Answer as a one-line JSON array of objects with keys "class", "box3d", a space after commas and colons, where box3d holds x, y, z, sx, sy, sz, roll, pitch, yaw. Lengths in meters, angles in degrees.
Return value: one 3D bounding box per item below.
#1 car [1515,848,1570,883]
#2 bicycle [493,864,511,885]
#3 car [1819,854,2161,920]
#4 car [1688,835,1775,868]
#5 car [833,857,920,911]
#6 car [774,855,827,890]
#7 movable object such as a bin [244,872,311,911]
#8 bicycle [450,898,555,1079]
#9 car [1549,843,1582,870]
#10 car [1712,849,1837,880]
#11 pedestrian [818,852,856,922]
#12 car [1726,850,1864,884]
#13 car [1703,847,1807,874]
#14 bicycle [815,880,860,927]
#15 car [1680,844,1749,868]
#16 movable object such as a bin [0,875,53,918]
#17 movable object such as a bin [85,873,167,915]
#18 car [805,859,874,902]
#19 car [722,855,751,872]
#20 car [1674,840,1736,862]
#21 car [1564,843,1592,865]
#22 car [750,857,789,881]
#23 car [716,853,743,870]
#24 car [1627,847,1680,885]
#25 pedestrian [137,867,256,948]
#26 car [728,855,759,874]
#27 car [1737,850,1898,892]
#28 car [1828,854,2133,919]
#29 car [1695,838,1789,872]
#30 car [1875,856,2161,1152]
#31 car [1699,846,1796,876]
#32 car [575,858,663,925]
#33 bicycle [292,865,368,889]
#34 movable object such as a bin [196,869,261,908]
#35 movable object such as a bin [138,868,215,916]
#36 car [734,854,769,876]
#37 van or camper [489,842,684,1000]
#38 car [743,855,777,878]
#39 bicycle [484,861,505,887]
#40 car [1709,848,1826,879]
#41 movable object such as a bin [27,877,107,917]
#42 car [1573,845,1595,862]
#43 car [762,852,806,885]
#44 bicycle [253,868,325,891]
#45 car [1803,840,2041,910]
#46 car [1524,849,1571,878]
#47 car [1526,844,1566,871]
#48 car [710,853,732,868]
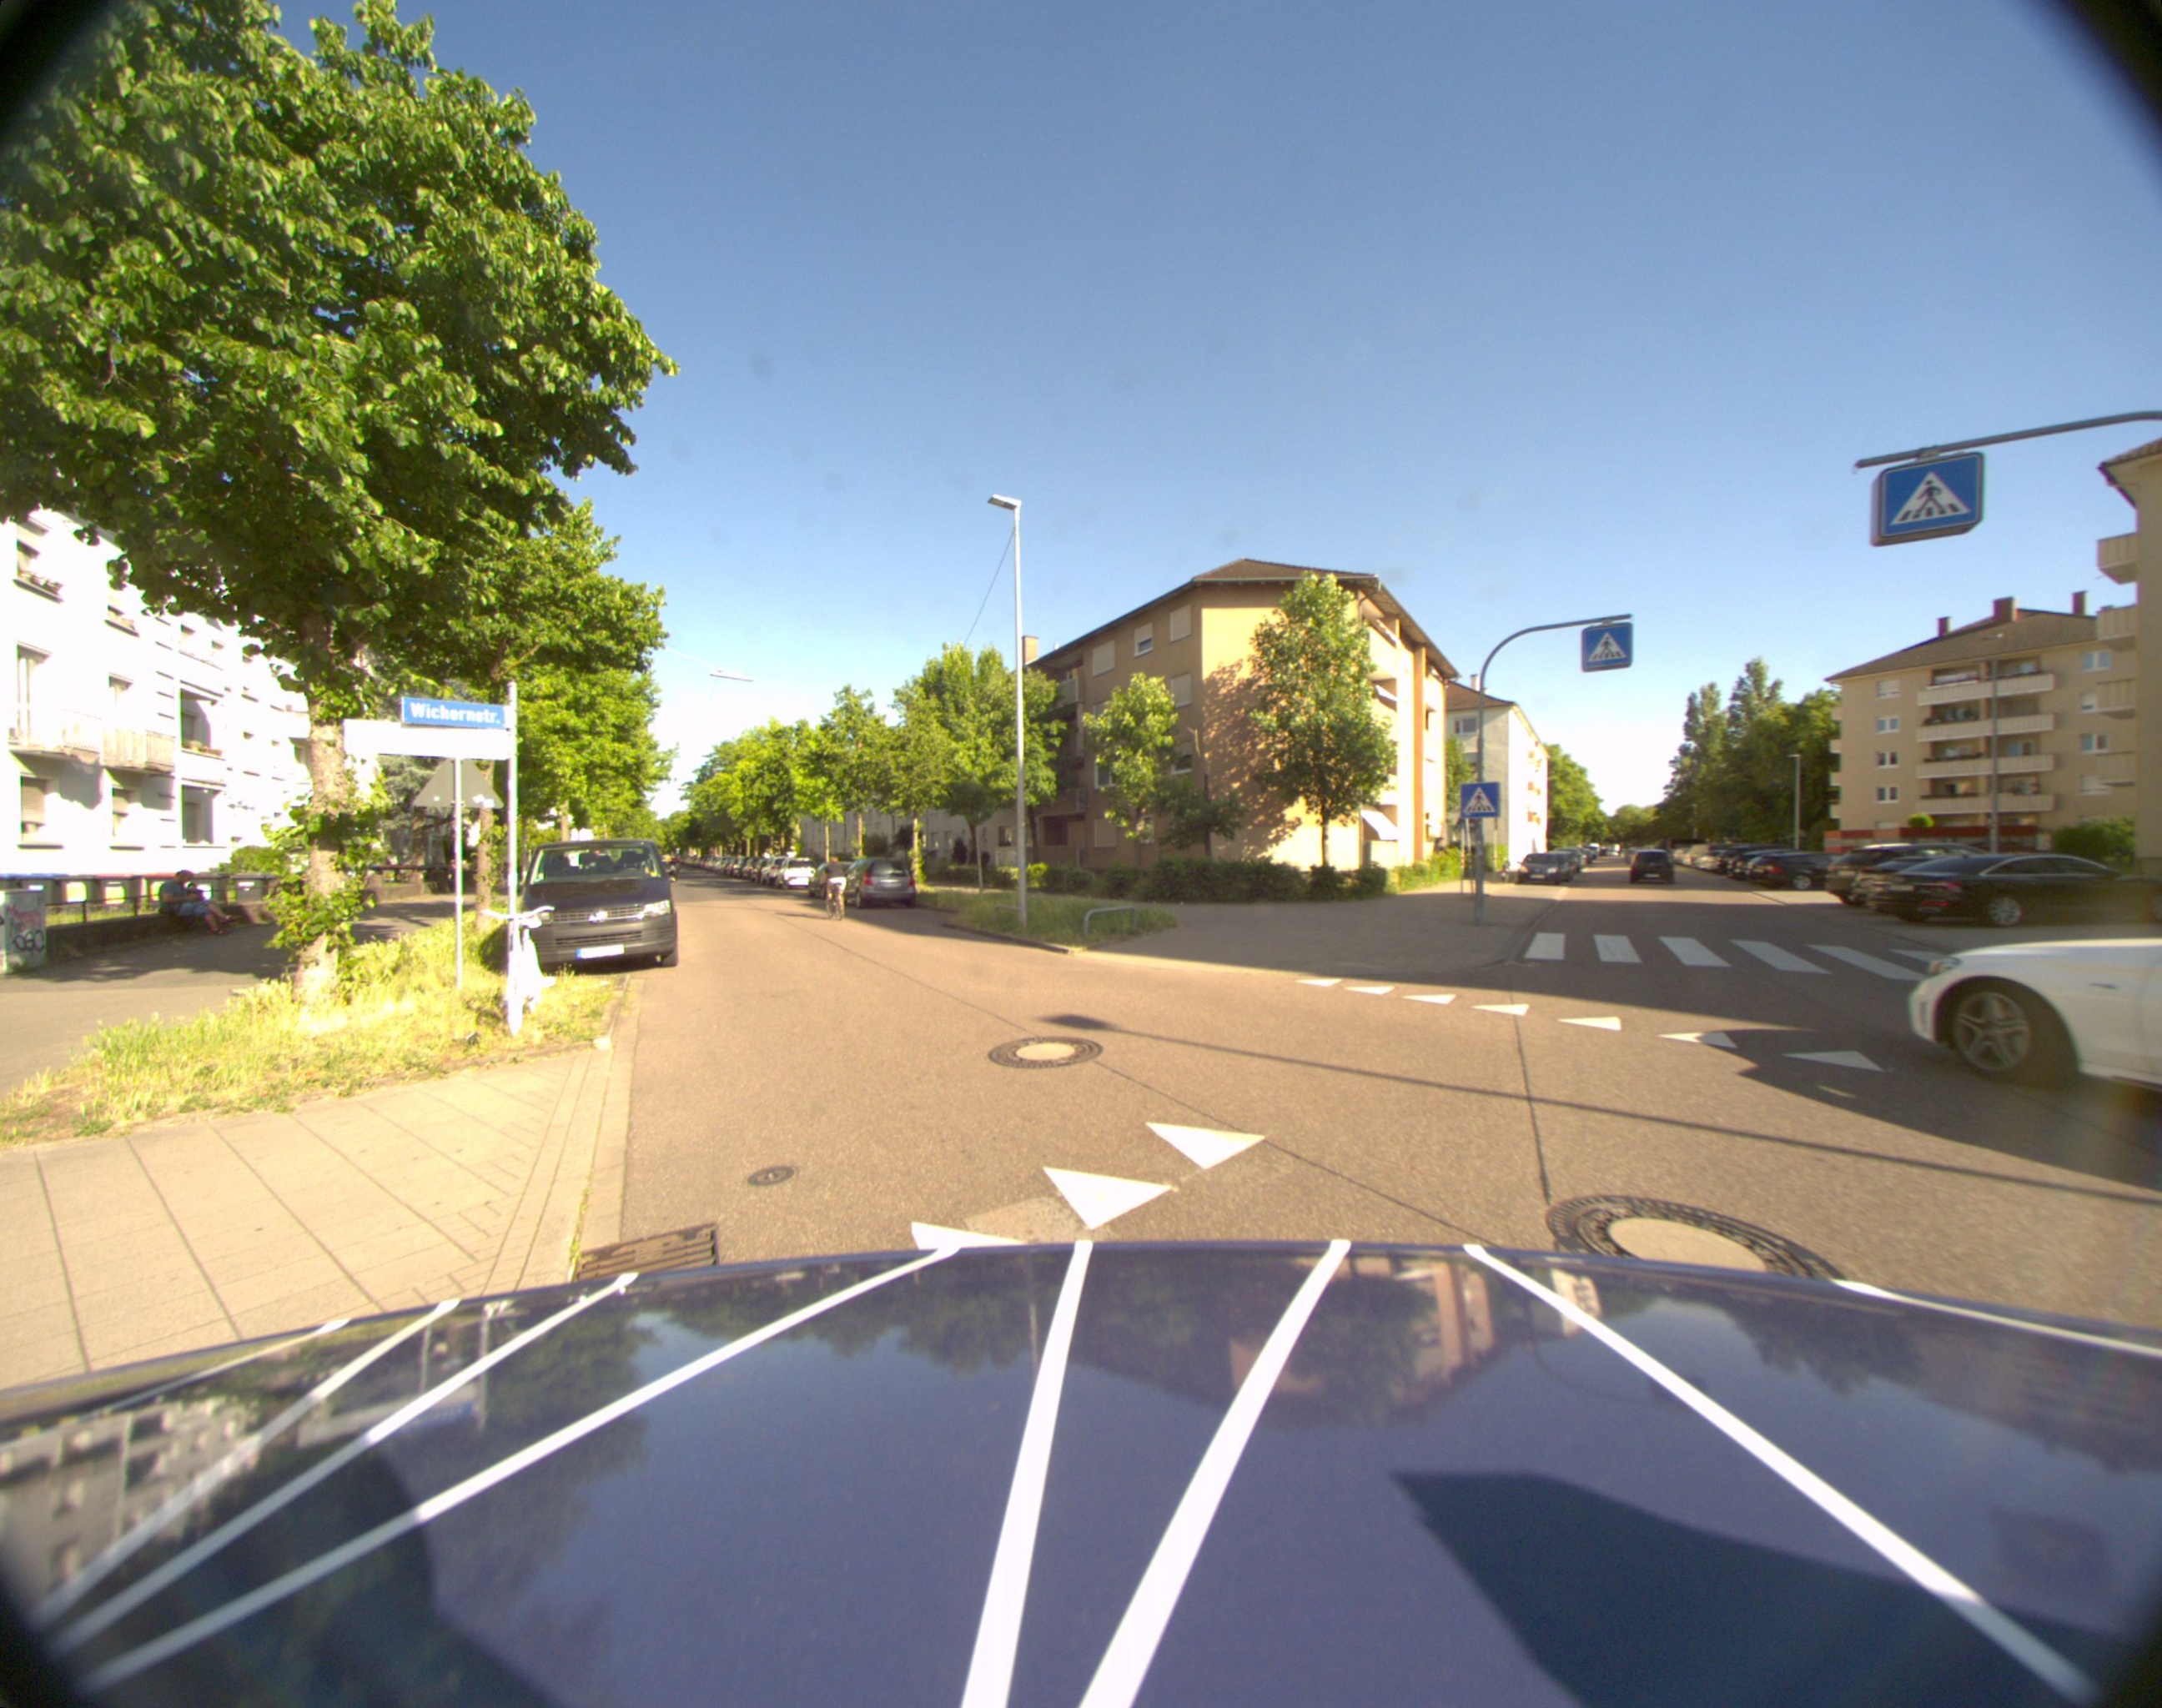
[{"class": "car", "box3d": [21.154, 0.491, 34.990, 1.904, 1.506, 4.007, 1, 1, 28]}, {"class": "bicycle", "box3d": [-30.677, 1.061, 40.276, 0.434, 1.007, 2.243, -8, 5, -31]}, {"class": "car", "box3d": [18.775, 0.654, 15.857, 4.558, 1.160, 2.001, -2, 0, 6]}, {"class": "car", "box3d": [43.992, -0.169, 51.505, 3.993, 2.003, 2.001, -2, 2, 14]}, {"class": "car", "box3d": [-6.736, 0.900, 24.752, 1.728, 1.553, 4.098, 0, 1, -30]}, {"class": "car", "box3d": [-13.921, 0.853, 37.568, 1.725, 1.518, 3.990, -4, 3, -30]}, {"class": "movable object such as a bin", "box3d": [-20.185, 0.927, 19.117, 0.779, 0.858, 1.007, -3, 3, -25]}, {"class": "bicycle", "box3d": [-4.928, 1.047, 6.564, 0.530, 1.187, 2.025, -2, 2, -33]}, {"class": "car", "box3d": [33.639, 0.132, 52.764, 1.841, 1.747, 4.008, 1, 1, 32]}, {"class": "car", "box3d": [33.385, 0.519, 36.697, 3.993, 1.303, 2.001, -2, 2, 14]}, {"class": "pedestrian", "box3d": [-6.064, 0.792, 18.860, 0.693, 1.631, 1.044, -3, 3, -24]}, {"class": "car", "box3d": [31.583, 0.559, 33.738, 3.993, 1.303, 2.001, -2, 2, 14]}, {"class": "car", "box3d": [38.690, 0.360, 43.718, 3.993, 1.390, 2.001, -2, 2, 14]}, {"class": "bicycle", "box3d": [-6.093, 1.214, 18.951, 0.551, 1.006, 1.914, -2, 2, -34]}, {"class": "car", "box3d": [51.904, 0.138, 62.319, 3.990, 1.828, 2.003, -1, 3, 27]}, {"class": "movable object such as a bin", "box3d": [-23.949, 0.952, 17.128, 0.673, 0.917, 0.594, -3, 3, -25]}, {"class": "movable object such as a bin", "box3d": [-22.476, 0.925, 17.905, 0.779, 0.858, 1.007, -3, 3, -24]}, {"class": "car", "box3d": [-9.493, 0.974, 29.700, 1.667, 1.387, 4.081, -4, 3, -30]}, {"class": "car", "box3d": [-29.866, 0.810, 65.771, 1.884, 1.367, 4.173, 0, 1, -30]}, {"class": "car", "box3d": [56.586, -0.279, 68.993, 3.990, 1.828, 2.003, -1, 3, 27]}, {"class": "car", "box3d": [42.608, -0.010, 65.164, 1.994, 1.685, 4.007, 0, 2, 33]}, {"class": "car", "box3d": [-19.386, 0.890, 47.240, 1.665, 1.384, 4.226, -1, 1, -30]}, {"class": "car", "box3d": [-32.682, 0.681, 70.639, 1.884, 1.553, 4.173, 0, 1, -30]}, {"class": "car", "box3d": [27.329, 0.544, 36.374, 1.738, 1.521, 4.120, -1, 3, 33]}, {"class": "pedestrian", "box3d": [-15.612, 0.917, 13.460, 1.087, 1.288, 0.817, -4, 3, -30]}, {"class": "car", "box3d": [-26.695, 0.815, 60.053, 1.884, 1.367, 4.058, 0, 1, -30]}, {"class": "car", "box3d": [27.952, 0.624, 28.988, 3.994, 1.394, 2.001, -2, 2, 11]}, {"class": "car", "box3d": [21.137, 0.733, 18.063, 4.558, 1.423, 2.001, 0, 0, 6]}, {"class": "car", "box3d": [41.755, 0.045, 48.093, 3.992, 2.003, 2.002, -2, 2, 16]}, {"class": "car", "box3d": [6.637, 0.849, 3.047, 1.891, 1.496, 4.635, 0, 2, -2]}, {"class": "car", "box3d": [40.244, 0.397, 45.990, 3.991, 1.631, 2.002, -1, 2, 21]}, {"class": "car", "box3d": [-13.488, 0.997, 22.444, 1.907, 1.604, 4.960, -2, 2, -28]}, {"class": "bicycle", "box3d": [-30.801, 0.942, 31.188, 2.069, 0.765, 0.624, -5, 4, -29]}, {"class": "movable object such as a bin", "box3d": [-20.972, 0.840, 18.706, 0.779, 0.858, 0.763, -3, 3, -25]}, {"class": "movable object such as a bin", "box3d": [-21.702, 0.894, 18.257, 0.779, 1.021, 1.007, -3, 3, -25]}, {"class": "car", "box3d": [-24.169, 0.763, 55.664, 1.824, 1.576, 4.397, 0, 0, -30]}, {"class": "van or camper", "box3d": [-7.594, 0.779, 12.100, 1.998, 1.852, 5.373, -3, 3, -29]}, {"class": "car", "box3d": [-21.730, 0.837, 51.408, 1.657, 1.437, 3.957, 0, 1, -30]}, {"class": "bicycle", "box3d": [-29.360, 0.970, 38.076, 0.491, 1.190, 2.170, -4, 3, -30]}, {"class": "car", "box3d": [35.321, 0.490, 39.202, 3.994, 1.248, 2.000, -4, 2, 9]}, {"class": "movable object such as a bin", "box3d": [-23.163, 0.963, 17.375, 0.779, 0.818, 0.741, -3, 3, -25]}, {"class": "car", "box3d": [54.533, -0.046, 82.385, 1.994, 1.685, 4.007, 0, 2, 33]}, {"class": "car", "box3d": [-16.513, 0.770, 42.140, 1.712, 1.670, 4.213, 0, 1, -30]}, {"class": "bicycle", "box3d": [-33.712, 1.068, 32.356, 2.039, 0.913, 0.557, 0, 1, -25]}, {"class": "car", "box3d": [22.335, 0.547, 20.341, 3.996, 1.642, 2.001, -2, 0, 3]}, {"class": "car", "box3d": [24.143, 0.458, 39.412, 1.995, 1.237, 4.006, -1, 3, 31]}, {"class": "car", "box3d": [29.654, 0.185, 48.377, 1.995, 1.456, 4.007, -3, 1, 33]}, {"class": "car", "box3d": [-38.347, 0.680, 80.829, 1.772, 1.487, 4.005, -3, 3, -30]}]
